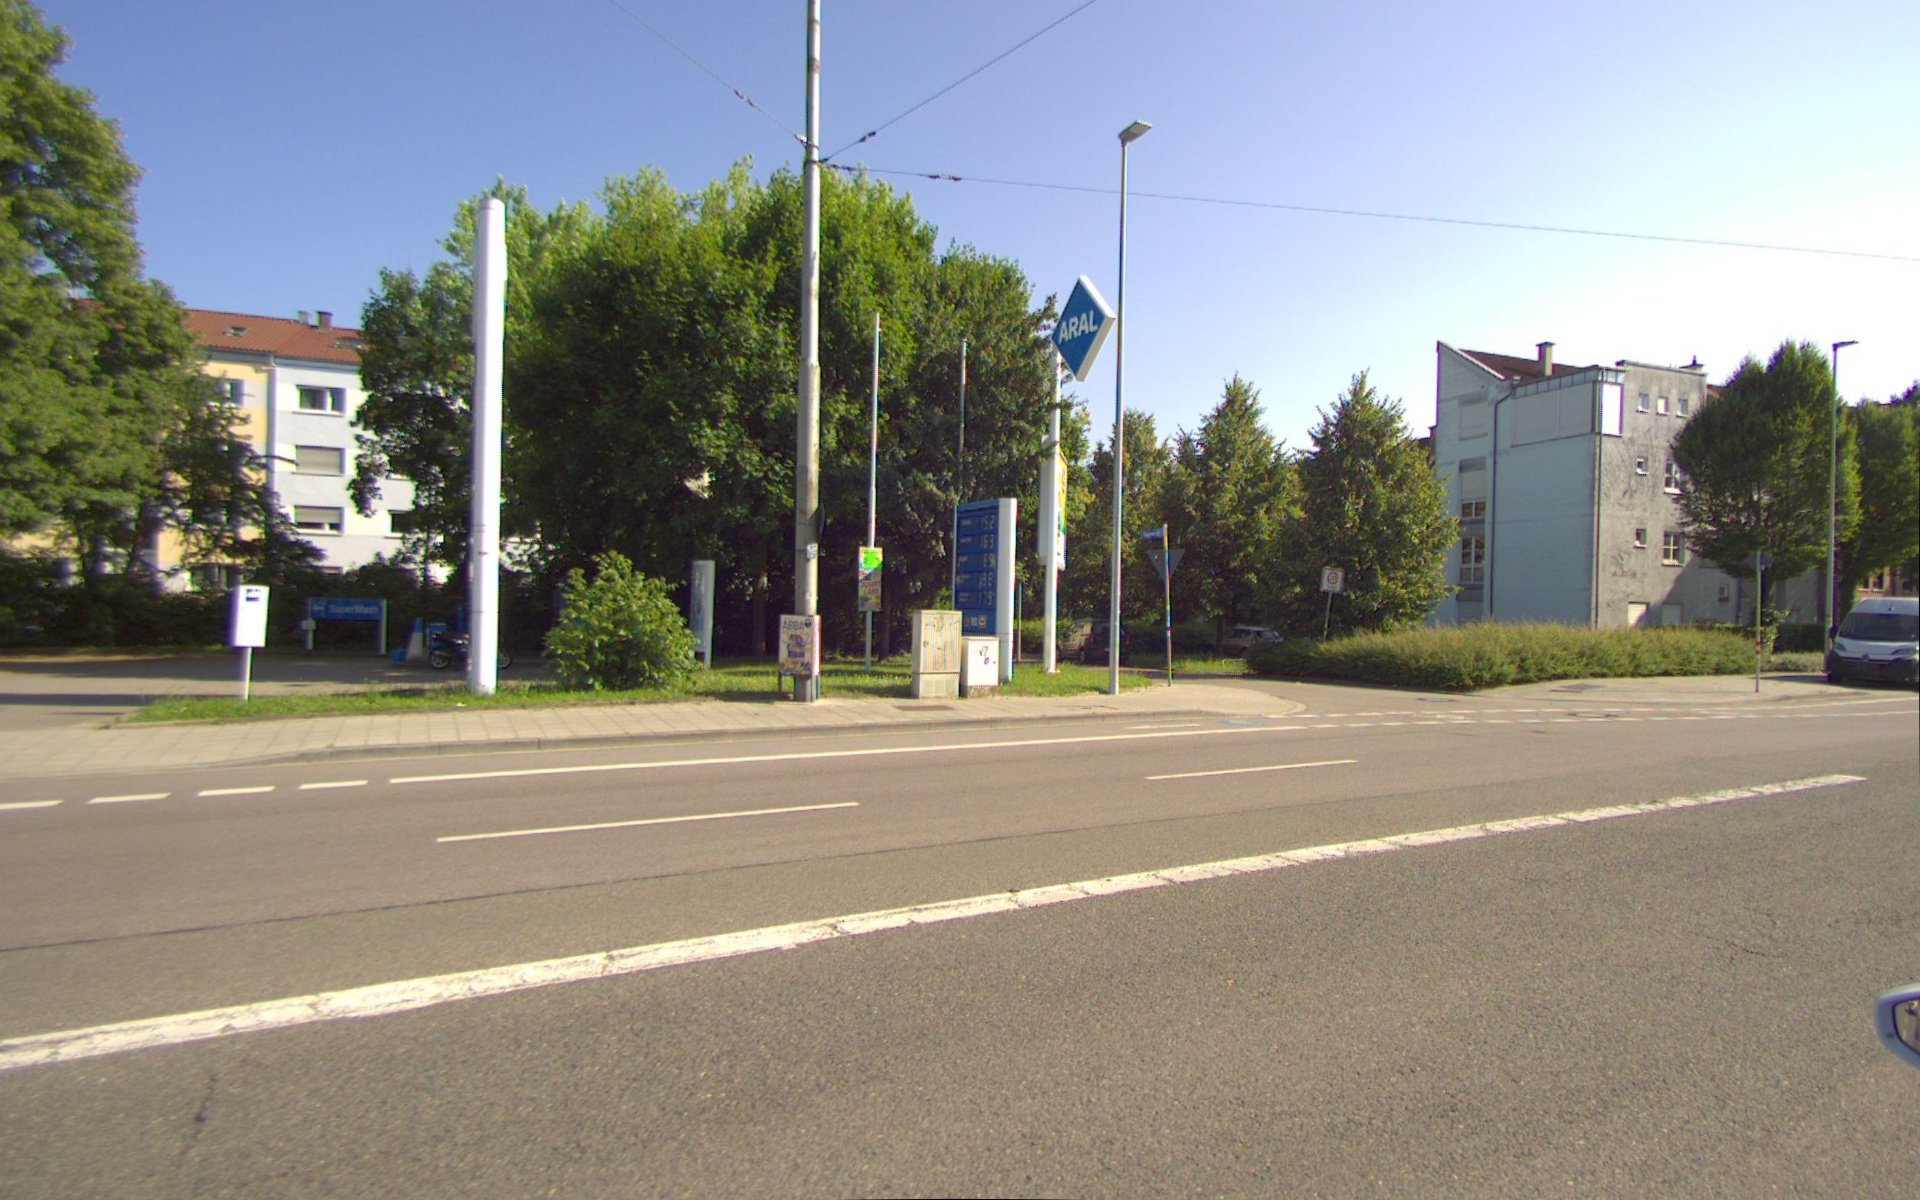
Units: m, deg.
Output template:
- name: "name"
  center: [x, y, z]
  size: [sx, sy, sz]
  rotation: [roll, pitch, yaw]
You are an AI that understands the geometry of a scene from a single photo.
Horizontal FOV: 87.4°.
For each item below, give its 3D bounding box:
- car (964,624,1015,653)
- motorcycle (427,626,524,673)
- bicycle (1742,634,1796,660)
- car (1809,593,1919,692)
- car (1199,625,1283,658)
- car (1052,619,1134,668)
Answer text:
- name: "car"
  center: [1.527, 2.061, 53.931]
  size: [1.677, 1.409, 3.988]
  rotation: [1, -1, -15]
- name: "motorcycle"
  center: [-10.719, 1.091, 22.246]
  size: [1.883, 0.995, 0.515]
  rotation: [1, -1, -31]
- name: "bicycle"
  center: [34.264, 1.984, 42.557]
  size: [0.633, 0.990, 1.680]
  rotation: [1, 0, -21]
- name: "car"
  center: [26.777, 1.147, 28.504]
  size: [6.112, 2.491, 2.141]
  rotation: [1, 2, -31]
- name: "car"
  center: [11.972, 1.746, 42.979]
  size: [1.716, 1.285, 3.782]
  rotation: [1, -1, -17]
- name: "car"
  center: [5.215, 1.696, 39.861]
  size: [1.743, 1.719, 3.988]
  rotation: [4, -1, -15]
